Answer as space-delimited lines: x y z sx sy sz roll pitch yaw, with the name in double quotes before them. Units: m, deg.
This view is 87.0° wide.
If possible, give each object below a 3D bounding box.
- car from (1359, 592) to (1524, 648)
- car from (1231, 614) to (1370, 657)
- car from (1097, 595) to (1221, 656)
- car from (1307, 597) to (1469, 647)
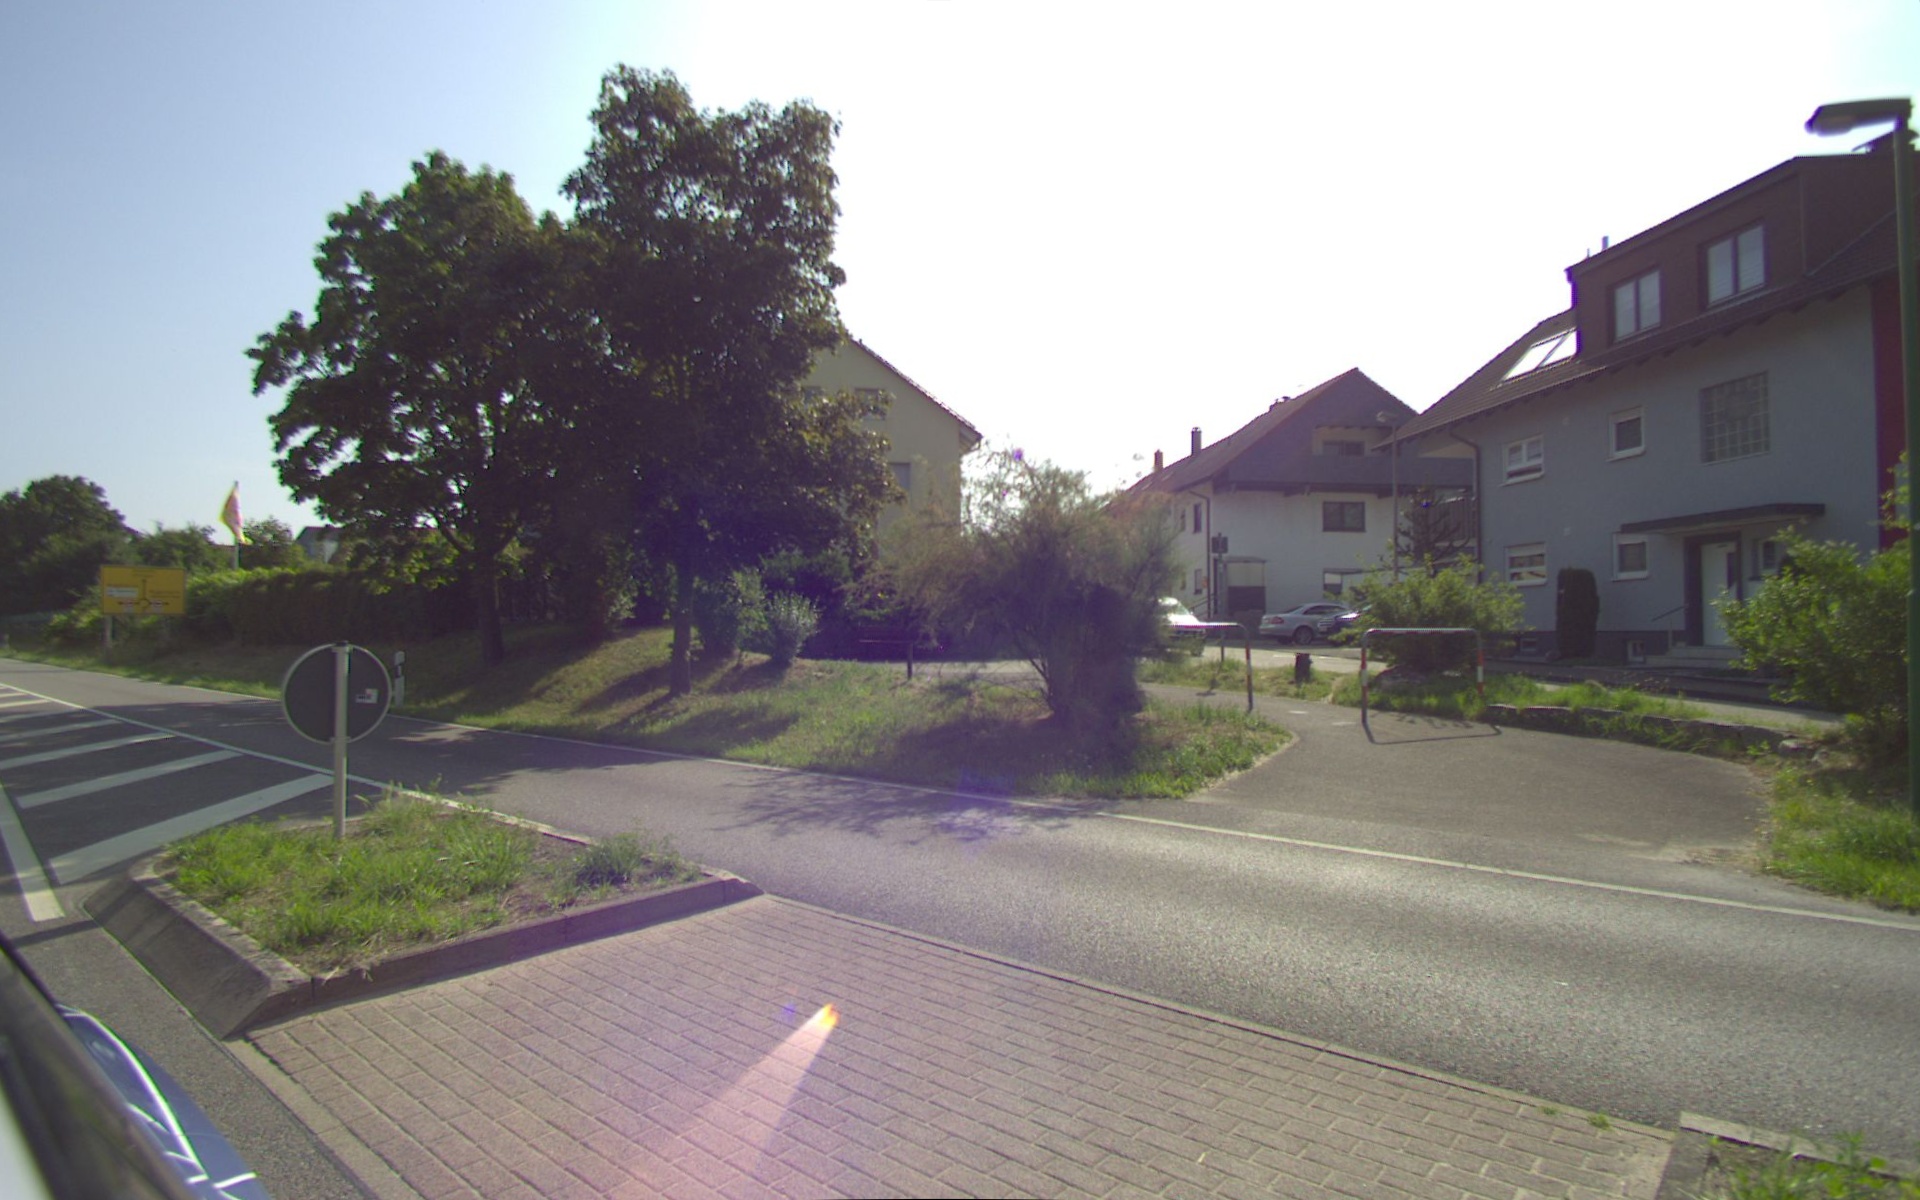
"car" 13.399 0.571 28.304 3.718 1.473 1.748 0 -2 -1
"car" 11.389 1.191 34.063 4.025 1.383 1.813 0 -2 -1
"car" 5.179 0.695 26.945 1.838 1.474 4.242 -1 -2 -9
"car" 12.985 0.673 30.864 4.079 1.459 1.869 0 -2 -1
